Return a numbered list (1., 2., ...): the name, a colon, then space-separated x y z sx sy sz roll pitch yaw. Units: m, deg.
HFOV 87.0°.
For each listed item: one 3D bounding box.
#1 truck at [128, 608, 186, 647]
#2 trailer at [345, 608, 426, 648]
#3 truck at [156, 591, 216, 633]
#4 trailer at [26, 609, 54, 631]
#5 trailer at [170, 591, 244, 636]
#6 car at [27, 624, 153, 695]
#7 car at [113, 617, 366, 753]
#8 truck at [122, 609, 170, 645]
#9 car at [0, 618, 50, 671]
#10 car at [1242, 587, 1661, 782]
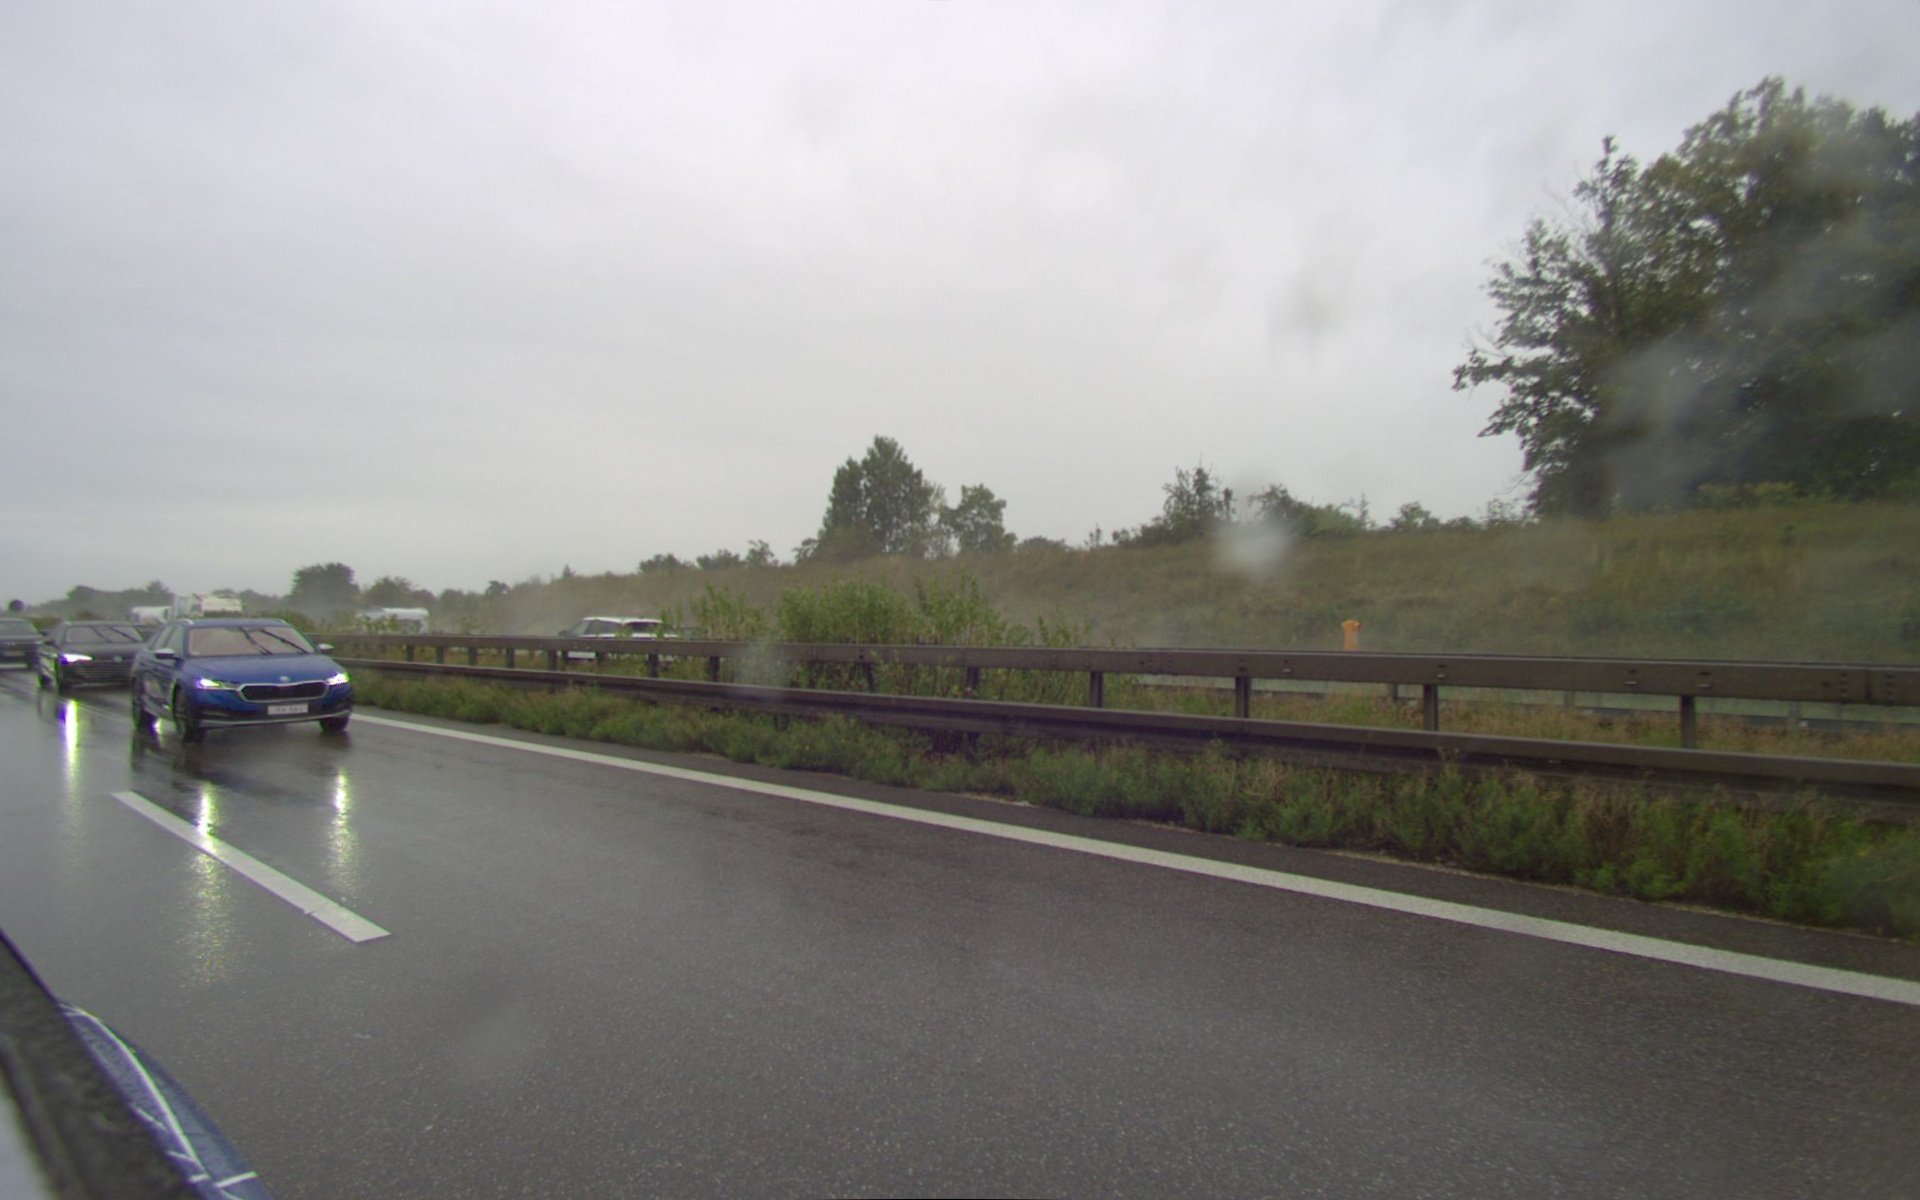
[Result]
1. truck: -74.305 2.509 93.569 9.345 3.323 2.528 0 -2 42
2. trailer: -31.003 1.479 54.525 5.347 2.029 2.070 0 -2 41
3. truck: -53.204 0.826 69.563 4.527 2.740 2.455 0 -2 42
4. trailer: -131.280 2.890 144.399 8.868 3.105 1.972 -2 -1 42
5. trailer: -48.834 0.843 65.535 7.323 2.740 2.454 0 -2 43
6. car: -19.818 1.294 23.000 4.369 1.447 1.592 -2 -2 42
7. car: -9.636 1.002 13.392 4.510 1.487 1.767 -2 -2 42
8. truck: -77.682 2.561 96.550 5.195 3.305 2.515 0 -3 41
9. car: -31.105 1.432 32.843 4.267 1.644 1.864 -2 -2 41
10. car: 5.502 0.823 11.600 3.997 1.740 1.633 3 0 40
